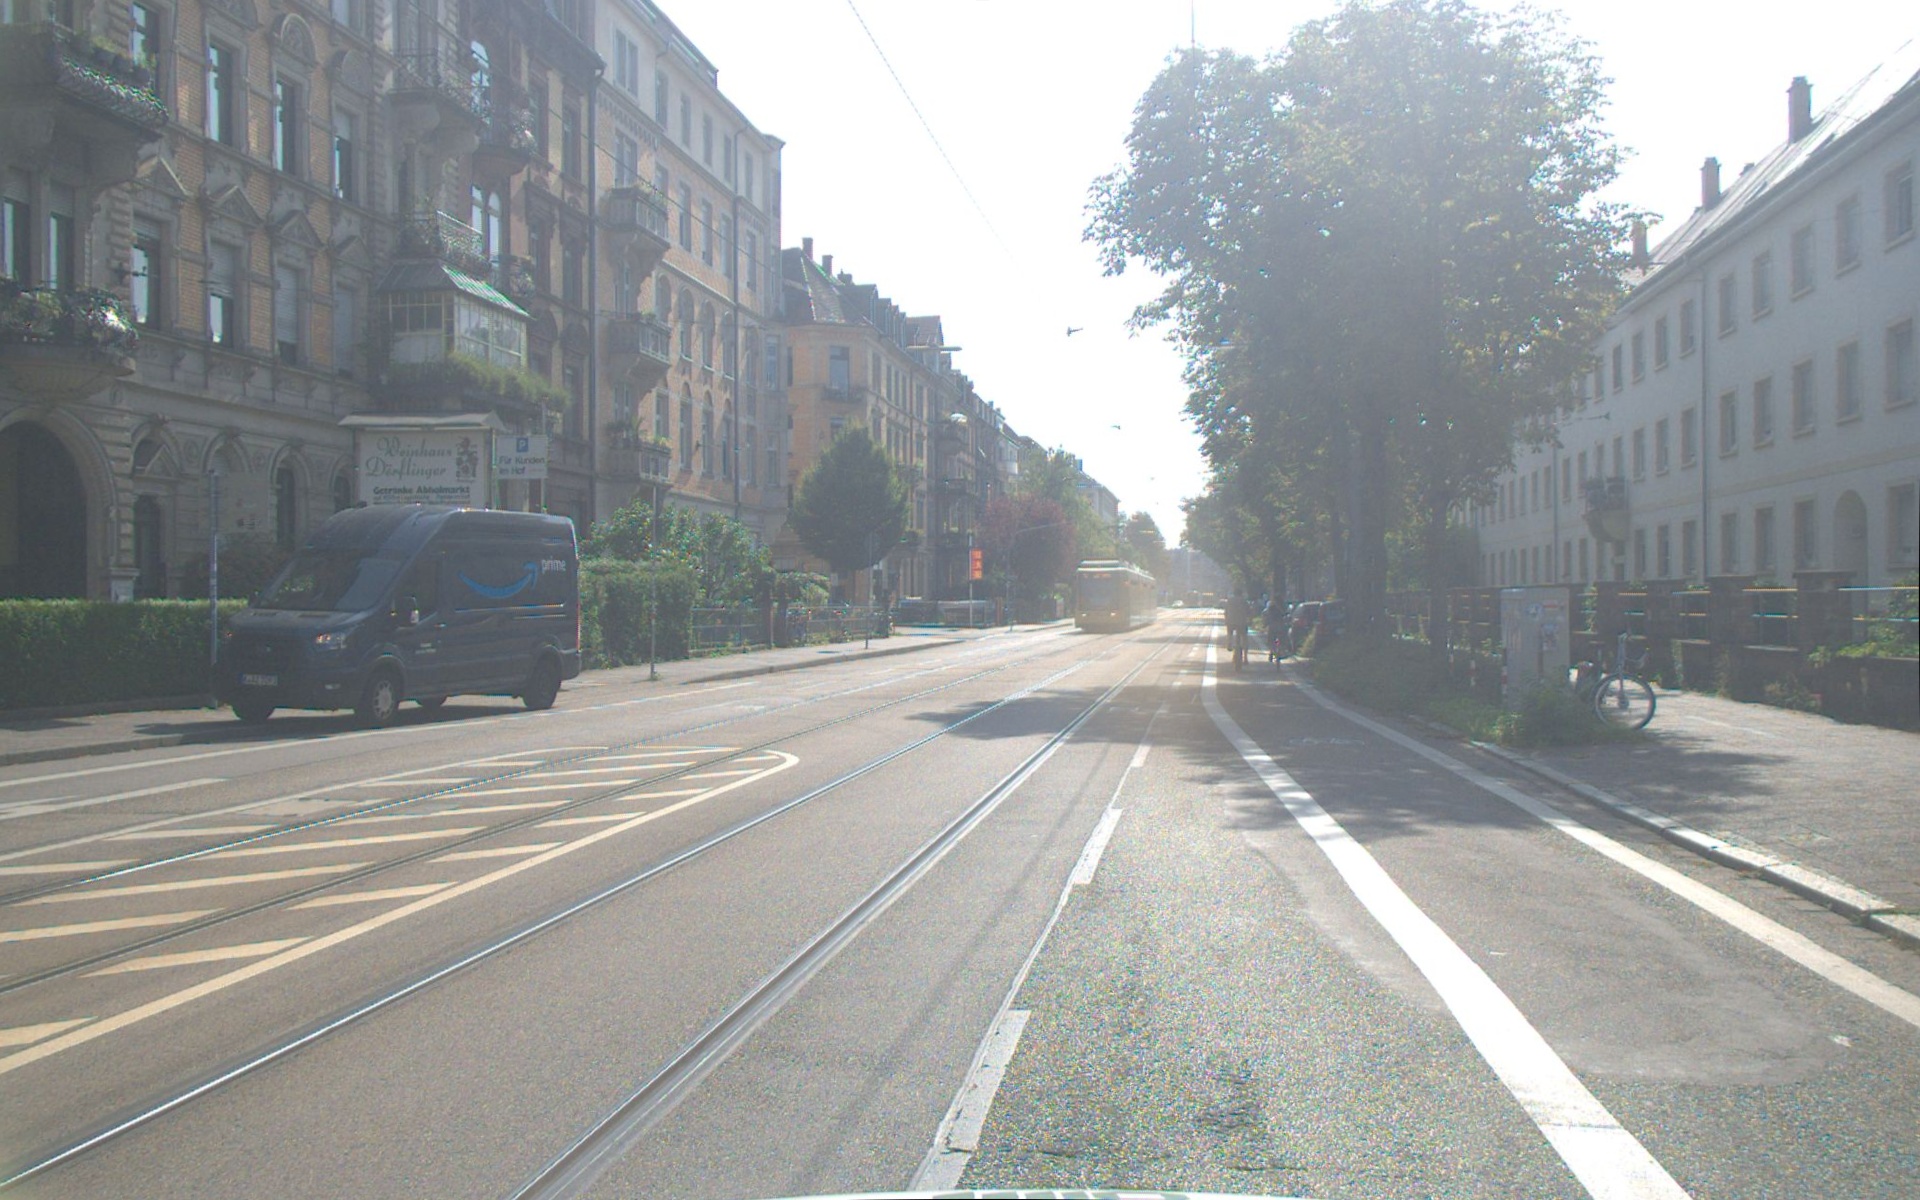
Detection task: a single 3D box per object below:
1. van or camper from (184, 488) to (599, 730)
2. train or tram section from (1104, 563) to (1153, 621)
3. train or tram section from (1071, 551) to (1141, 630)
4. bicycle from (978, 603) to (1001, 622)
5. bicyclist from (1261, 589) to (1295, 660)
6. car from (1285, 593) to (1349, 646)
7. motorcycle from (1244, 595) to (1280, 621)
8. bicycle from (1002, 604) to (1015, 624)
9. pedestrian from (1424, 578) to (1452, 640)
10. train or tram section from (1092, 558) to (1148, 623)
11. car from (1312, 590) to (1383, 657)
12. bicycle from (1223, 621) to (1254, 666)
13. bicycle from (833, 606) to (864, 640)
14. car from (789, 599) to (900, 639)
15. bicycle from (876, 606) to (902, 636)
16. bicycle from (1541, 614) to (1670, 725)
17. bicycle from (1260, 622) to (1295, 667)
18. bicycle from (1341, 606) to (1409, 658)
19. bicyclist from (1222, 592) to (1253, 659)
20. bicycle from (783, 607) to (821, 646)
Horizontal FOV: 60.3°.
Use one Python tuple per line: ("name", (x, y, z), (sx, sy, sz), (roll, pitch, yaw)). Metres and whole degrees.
("van or camper", (-7.100, 0.136, 21.617), (2.007, 2.691, 6.093), (-1, -1, 16))
("train or tram section", (10.977, -0.510, 106.989), (2.676, 3.567, 10.784), (0, 0, 8))
("train or tram section", (7.518, -0.439, 83.362), (2.676, 3.567, 15.445), (0, 0, 8))
("bicycle", (1.710, 0.736, 96.086), (1.328, 1.078, 0.417), (1, 0, 6))
("bicyclist", (6.861, 0.531, 35.703), (0.640, 1.499, 0.909), (1, 0, 8))
("car", (10.713, 0.566, 49.847), (1.610, 1.473, 4.249), (-2, -1, 9))
("motorcycle", (20.397, 0.553, 111.689), (0.904, 1.703, 2.388), (-2, 0, -36))
("bicycle", (2.865, 0.810, 96.946), (0.497, 1.127, 2.005), (-1, 0, 9))
("pedestrian", (13.846, 0.267, 47.934), (0.736, 1.779, 0.879), (0, 0, 15))
("train or tram section", (9.402, -0.498, 96.323), (2.676, 3.567, 10.784), (0, 0, 8))
("car", (9.886, 0.583, 42.061), (1.610, 1.567, 3.845), (-3, -1, 14))
("bicycle", (6.010, 0.935, 35.746), (0.613, 0.925, 1.526), (1, 0, 8))
("bicycle", (-3.721, 0.771, 55.292), (0.533, 1.076, 1.841), (3, 1, 10))
("car", (-4.581, 0.751, 66.051), (4.048, 1.570, 2.066), (0, -1, 8))
("bicycle", (-2.655, 0.780, 62.242), (0.533, 1.076, 1.841), (3, 1, 10))
("bicycle", (7.154, 0.742, 18.440), (0.755, 1.123, 2.335), (-1, 0, 6))
("bicycle", (6.848, 0.947, 35.718), (0.640, 0.925, 1.776), (1, 0, 8))
("bicycle", (8.972, 0.682, 35.728), (1.712, 1.092, 0.518), (0, 0, -40))
("bicyclist", (5.999, 0.547, 35.760), (0.613, 1.425, 0.930), (1, 0, 8))
("bicycle", (-4.708, 0.782, 49.437), (0.594, 1.076, 1.841), (3, 1, 10))
